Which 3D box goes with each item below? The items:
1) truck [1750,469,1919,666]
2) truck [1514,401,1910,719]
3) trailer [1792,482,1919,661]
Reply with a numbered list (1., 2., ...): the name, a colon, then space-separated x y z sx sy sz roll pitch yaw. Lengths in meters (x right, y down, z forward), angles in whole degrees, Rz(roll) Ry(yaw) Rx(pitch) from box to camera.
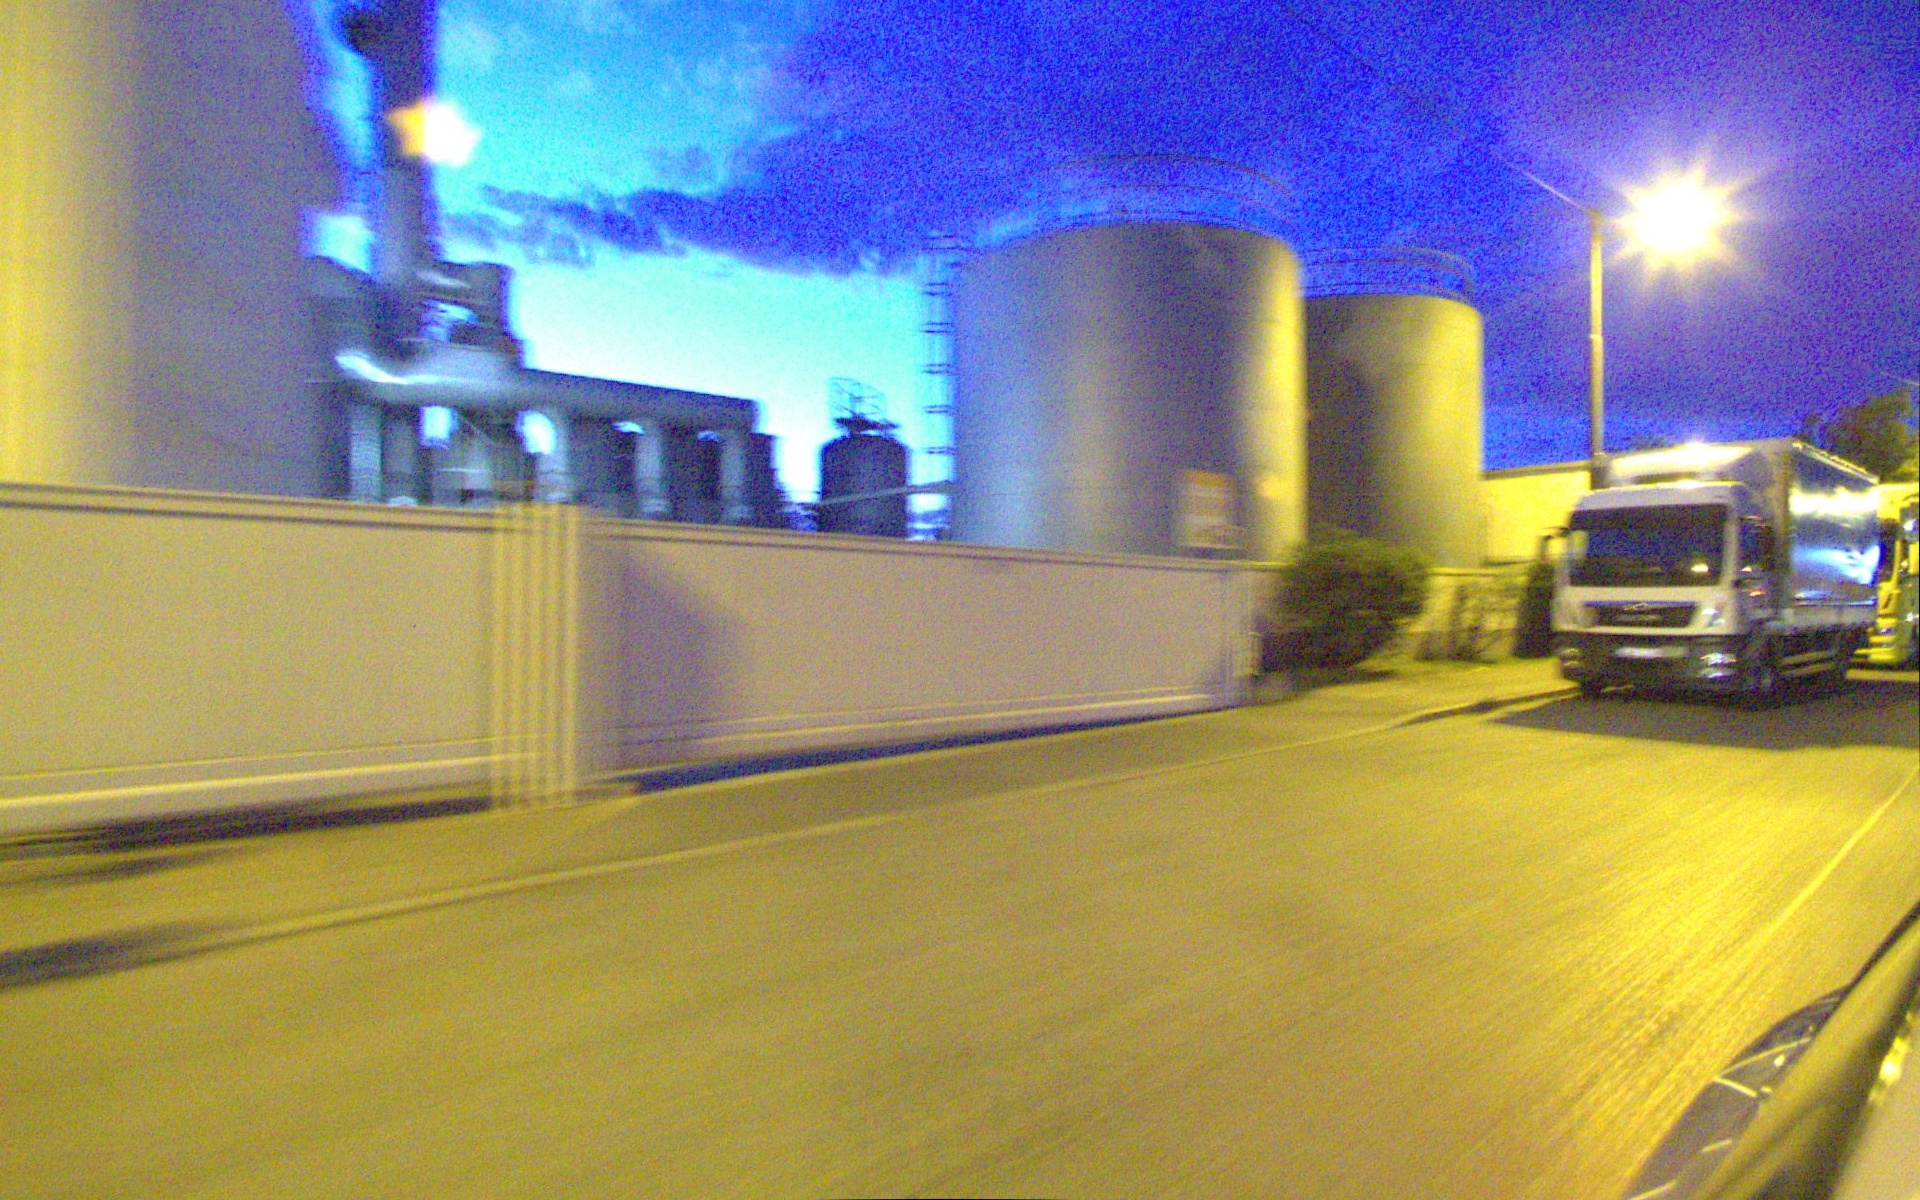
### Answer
1. truck: 21.263 -0.716 23.670 5.936 4.033 2.839 0 1 -36
2. truck: 13.108 -0.568 17.114 10.154 4.033 2.837 0 1 -38
3. trailer: 26.698 -0.711 27.607 13.712 4.033 2.817 0 1 -36
